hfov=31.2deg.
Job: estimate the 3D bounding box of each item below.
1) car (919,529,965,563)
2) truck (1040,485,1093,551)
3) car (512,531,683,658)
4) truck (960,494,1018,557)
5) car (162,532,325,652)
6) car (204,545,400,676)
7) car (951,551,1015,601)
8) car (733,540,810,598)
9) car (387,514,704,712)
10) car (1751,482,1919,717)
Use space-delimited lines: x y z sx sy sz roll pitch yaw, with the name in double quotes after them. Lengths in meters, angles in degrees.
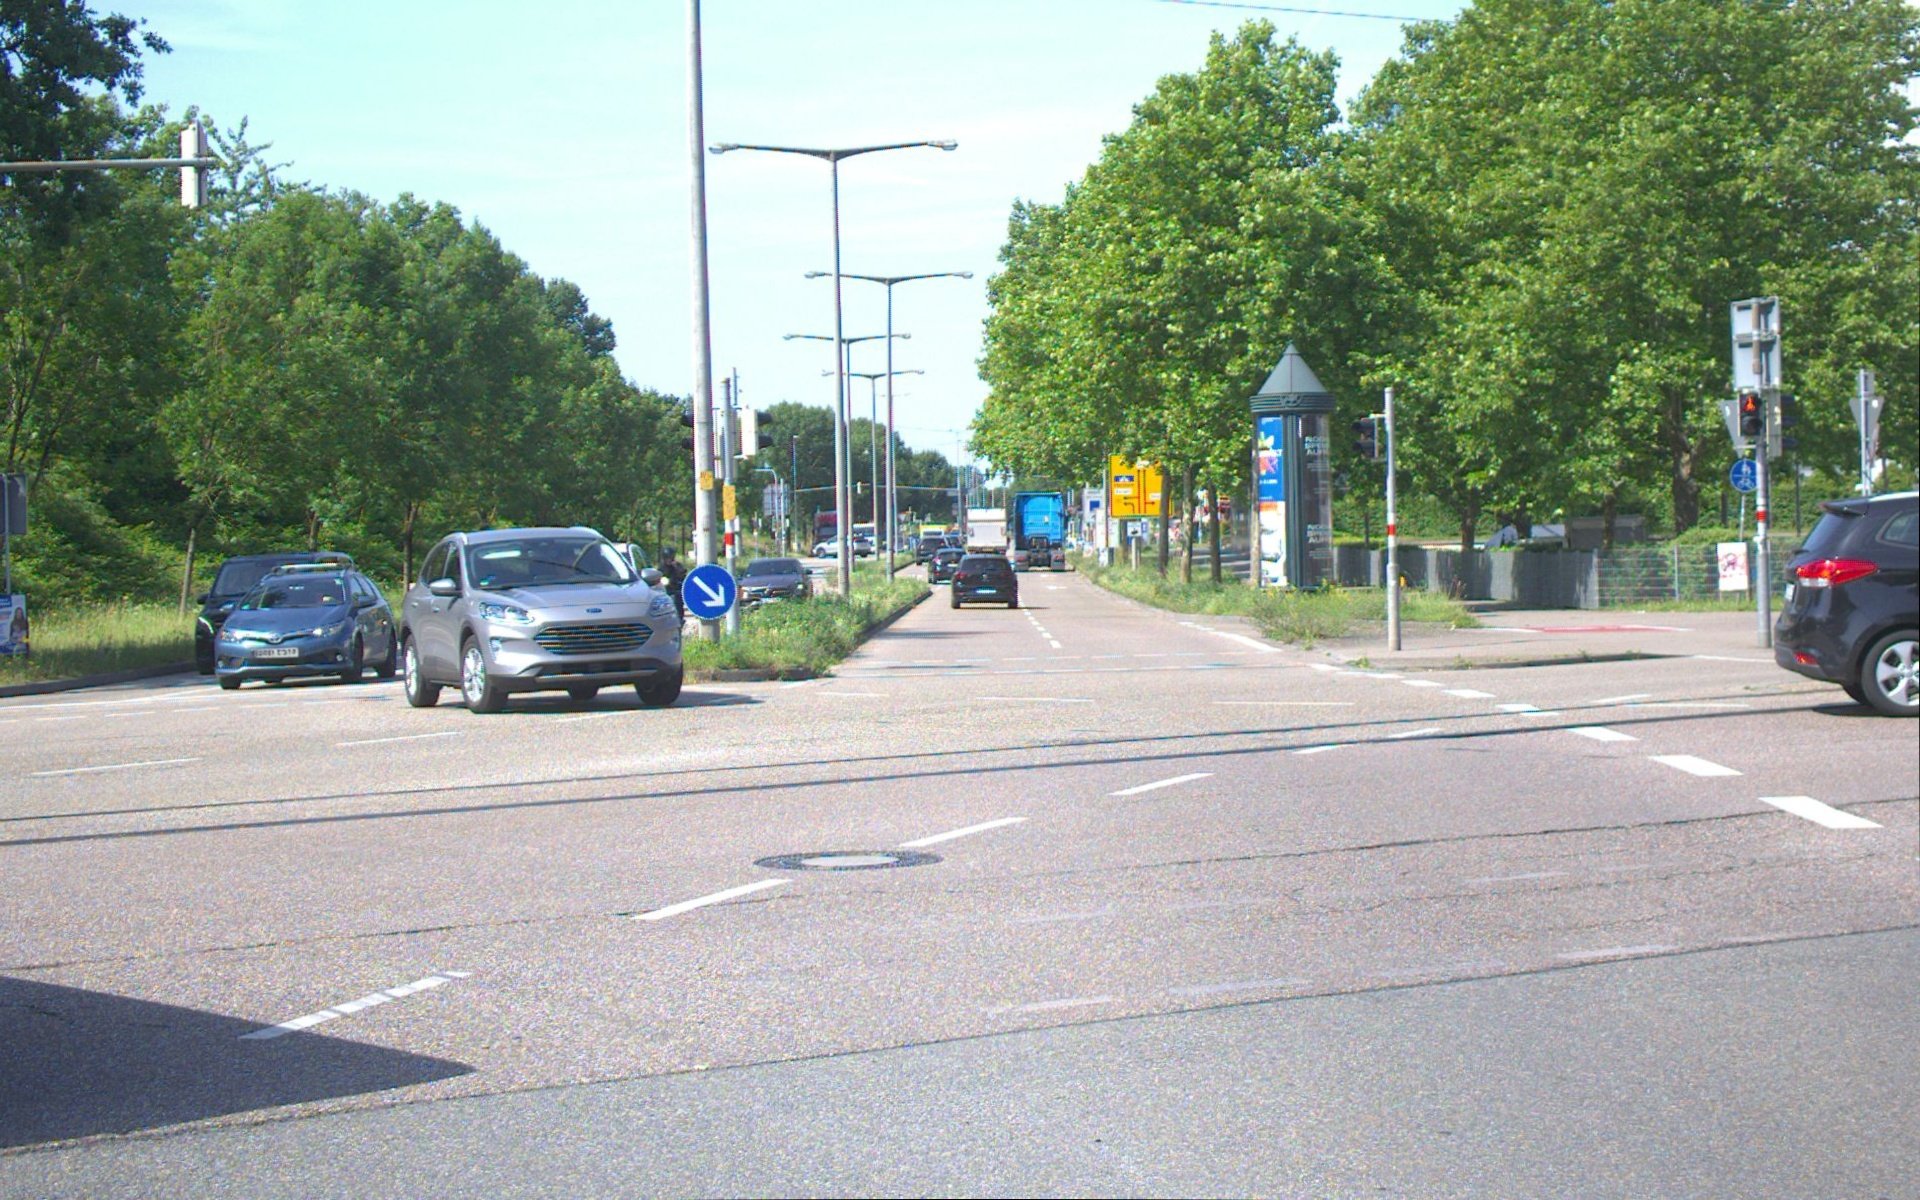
-0.723 -2.232 140.891 1.749 1.340 4.378 -2 1 1 "car"
7.425 -5.626 237.388 3.191 4.340 13.146 -1 1 3 "truck"
-5.126 -0.116 49.119 1.909 1.683 4.627 -2 1 0 "car"
1.735 -4.379 201.667 2.841 3.565 8.719 -1 1 3 "truck"
-11.451 -0.162 55.180 1.849 1.808 4.000 -2 1 -2 "car"
-8.445 0.096 44.435 1.849 1.556 4.000 -2 1 -2 "car"
0.619 -0.652 90.663 1.643 1.232 3.253 -2 1 1 "car"
-4.880 -0.834 89.462 1.714 1.374 4.472 -3 1 0 "car"
-3.931 0.077 31.910 1.990 1.645 4.657 -2 1 -18 "car"
7.893 -0.063 24.300 4.365 1.600 1.814 -1 1 10 "car"
